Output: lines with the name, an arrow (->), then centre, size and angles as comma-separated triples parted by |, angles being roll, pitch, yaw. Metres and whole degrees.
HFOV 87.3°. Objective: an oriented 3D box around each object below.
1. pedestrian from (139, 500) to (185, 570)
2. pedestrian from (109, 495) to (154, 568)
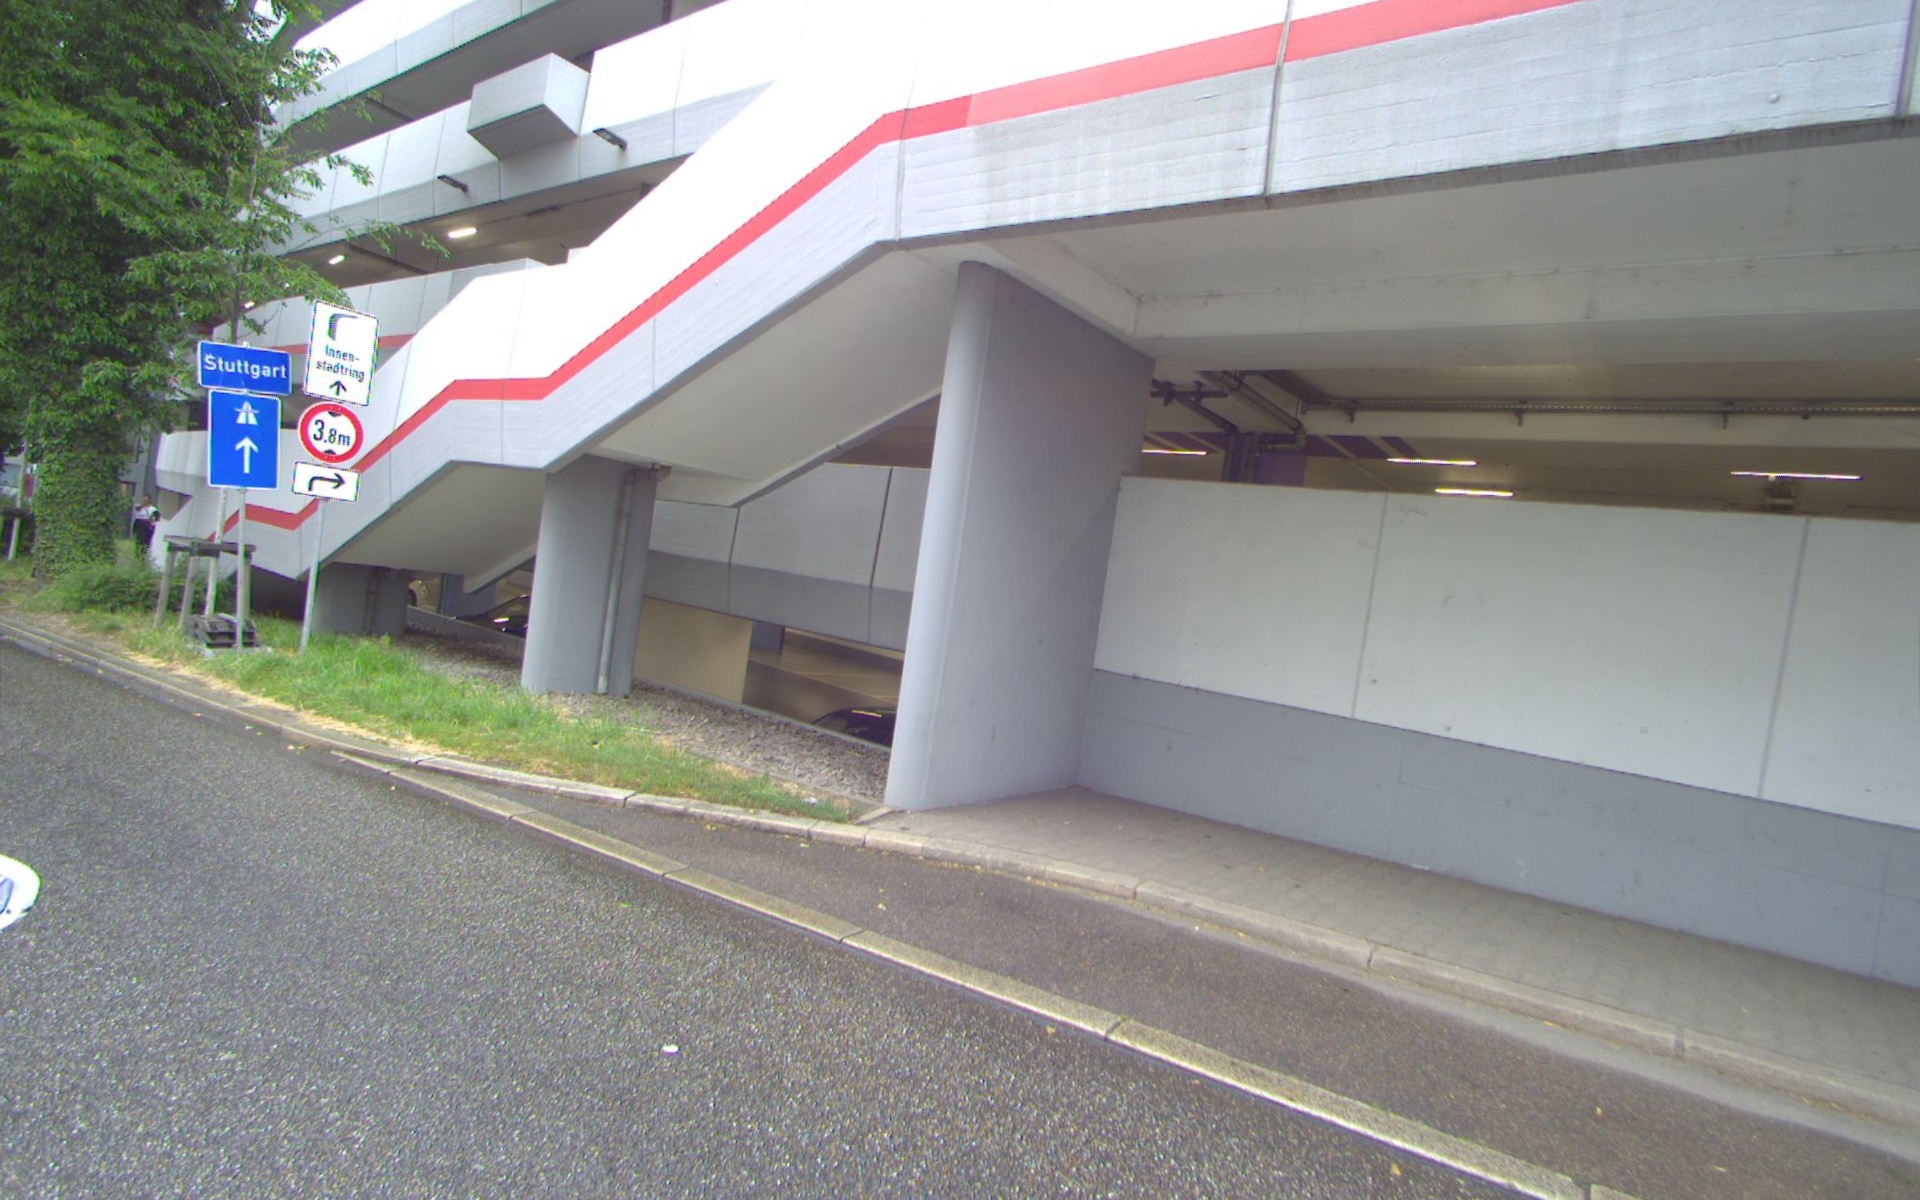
pedestrian -> -18.411, -1.503, 23.207 | 0.496, 1.519, 0.582 | 6, -1, 37
pedestrian -> -18.678, -1.539, 22.685 | 0.481, 1.550, 0.551 | 6, -1, 38
